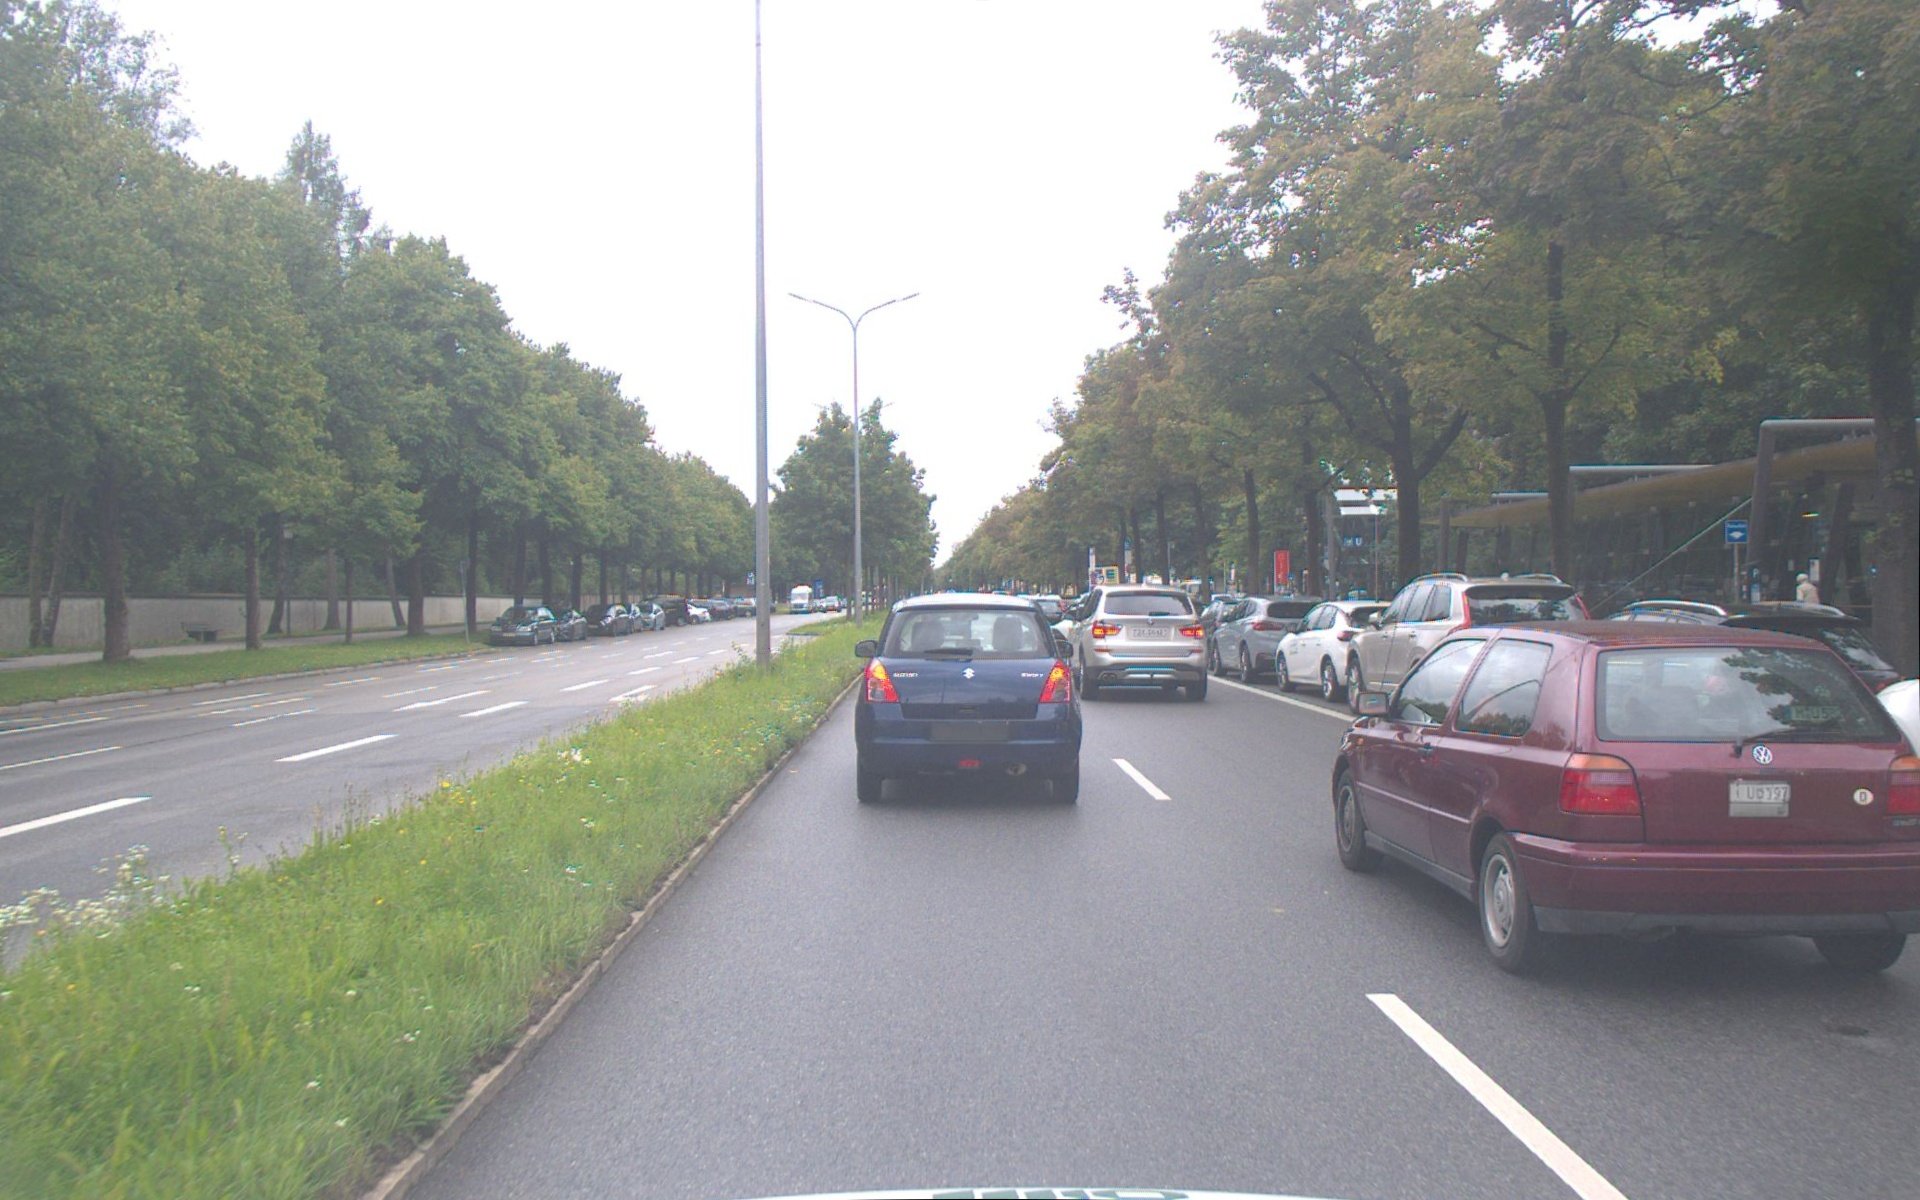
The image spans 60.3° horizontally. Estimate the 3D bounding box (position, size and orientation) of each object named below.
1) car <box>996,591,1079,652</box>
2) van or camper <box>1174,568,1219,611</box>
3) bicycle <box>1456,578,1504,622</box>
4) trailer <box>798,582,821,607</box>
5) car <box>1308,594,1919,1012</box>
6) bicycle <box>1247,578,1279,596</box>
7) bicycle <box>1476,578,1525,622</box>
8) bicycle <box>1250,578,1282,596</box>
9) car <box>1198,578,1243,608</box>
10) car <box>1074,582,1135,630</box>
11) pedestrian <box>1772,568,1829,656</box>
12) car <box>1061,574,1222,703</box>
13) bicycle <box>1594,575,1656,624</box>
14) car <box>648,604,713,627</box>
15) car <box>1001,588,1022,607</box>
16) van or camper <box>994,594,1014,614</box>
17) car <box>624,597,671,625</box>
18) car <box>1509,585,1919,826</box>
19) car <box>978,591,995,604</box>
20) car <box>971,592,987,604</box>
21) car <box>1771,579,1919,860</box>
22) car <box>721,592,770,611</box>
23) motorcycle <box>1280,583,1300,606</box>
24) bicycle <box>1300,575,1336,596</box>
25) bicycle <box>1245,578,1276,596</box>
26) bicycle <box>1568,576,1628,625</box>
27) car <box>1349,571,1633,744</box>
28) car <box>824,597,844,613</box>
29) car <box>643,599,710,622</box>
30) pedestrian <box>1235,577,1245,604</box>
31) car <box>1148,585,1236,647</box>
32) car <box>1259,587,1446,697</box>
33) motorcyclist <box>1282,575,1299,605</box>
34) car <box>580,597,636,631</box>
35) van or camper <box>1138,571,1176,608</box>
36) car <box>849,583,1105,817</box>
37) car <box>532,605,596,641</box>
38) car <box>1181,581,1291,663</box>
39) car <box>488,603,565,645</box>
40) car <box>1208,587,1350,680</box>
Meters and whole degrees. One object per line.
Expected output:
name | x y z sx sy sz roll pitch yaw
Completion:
car | 1.980 0.520 43.220 1.813 1.472 4.096 -1 0 -2
van or camper | 15.059 -0.686 105.759 1.953 2.602 5.956 -1 0 0
bicycle | 16.051 -0.014 51.131 0.632 1.303 2.550 -1 0 -1
trailer | -16.284 -0.603 179.178 2.063 2.585 5.576 -1 0 0
car | 2.943 0.729 7.998 1.589 1.479 3.949 -1 0 -1
bicycle | 26.206 -1.142 142.975 2.560 1.534 0.797 -1 0 -7
bicycle | 16.713 -0.010 51.167 0.632 1.303 2.550 -1 0 -1
bicycle | 26.264 -1.135 142.101 2.560 1.534 0.797 -1 0 -7
car | 15.301 -0.434 97.346 1.953 1.680 4.000 -1 0 -1
car | 5.362 0.201 61.726 1.750 1.704 4.594 -1 0 -2
pedestrian | 14.964 0.212 29.462 0.569 1.539 0.690 -1 0 -19
car | 2.659 0.523 25.131 1.813 1.773 4.096 -1 0 -2
bicycle | 18.421 -0.027 45.875 0.632 1.303 2.550 -1 0 -1
car | -18.728 1.031 110.970 3.999 1.405 1.653 -1 0 -37
car | 4.305 -0.234 138.447 1.650 1.552 4.455 1 0 0
van or camper | 4.412 0.398 166.128 1.905 2.009 4.306 -1 0 0
car | -17.104 0.584 90.629 1.602 1.464 4.809 0 0 0
car | 6.262 0.704 13.760 1.712 1.574 4.641 -2 1 -1
car | 3.249 -0.319 204.087 1.813 1.472 4.096 -1 0 -2
car | 2.496 -0.297 217.920 1.813 1.472 4.096 -1 0 -2
car | 6.249 0.667 8.712 1.678 1.574 4.380 -1 0 -2
car | -19.715 0.152 152.021 4.059 1.612 1.896 -1 0 -35
motorcycle | 20.206 -0.352 101.241 0.682 1.312 2.066 -5 0 -1
bicycle | 26.930 -1.106 124.458 2.566 1.534 0.795 -1 0 -15
bicycle | 26.508 -1.163 146.130 2.560 1.534 0.797 -1 0 -7
bicycle | 17.670 -0.002 45.849 0.632 1.303 2.550 -1 0 -1
car | 5.987 0.553 19.305 1.712 1.754 4.906 0 1 -1
car | -12.648 0.515 166.118 1.875 1.569 4.186 -1 0 -2
car | -18.543 0.675 108.274 3.955 1.378 1.828 -1 0 -36
pedestrian | 18.486 -0.610 109.109 0.563 1.782 0.732 -1 0 4
car | 6.114 0.392 43.957 1.683 1.535 4.223 -1 0 -1
car | 5.957 0.581 25.638 1.667 1.534 4.502 -1 0 -2
motorcyclist | 20.179 -0.587 101.069 0.677 1.767 0.953 -5 0 -1
car | -16.669 0.645 78.440 1.538 1.529 4.305 0 0 3
van or camper | 14.551 -0.783 122.377 1.983 2.602 5.956 -1 0 0
car | 0.042 0.677 13.449 1.753 1.583 3.998 -1 0 -2
car | -16.736 0.937 70.030 1.625 1.420 4.706 0 0 -1
car | 5.848 0.428 35.451 1.511 1.561 4.090 4 0 -1
car | -16.735 0.898 64.071 1.762 1.516 4.914 0 0 -1
car | 5.764 0.561 30.405 1.685 1.561 4.398 1 0 -1
